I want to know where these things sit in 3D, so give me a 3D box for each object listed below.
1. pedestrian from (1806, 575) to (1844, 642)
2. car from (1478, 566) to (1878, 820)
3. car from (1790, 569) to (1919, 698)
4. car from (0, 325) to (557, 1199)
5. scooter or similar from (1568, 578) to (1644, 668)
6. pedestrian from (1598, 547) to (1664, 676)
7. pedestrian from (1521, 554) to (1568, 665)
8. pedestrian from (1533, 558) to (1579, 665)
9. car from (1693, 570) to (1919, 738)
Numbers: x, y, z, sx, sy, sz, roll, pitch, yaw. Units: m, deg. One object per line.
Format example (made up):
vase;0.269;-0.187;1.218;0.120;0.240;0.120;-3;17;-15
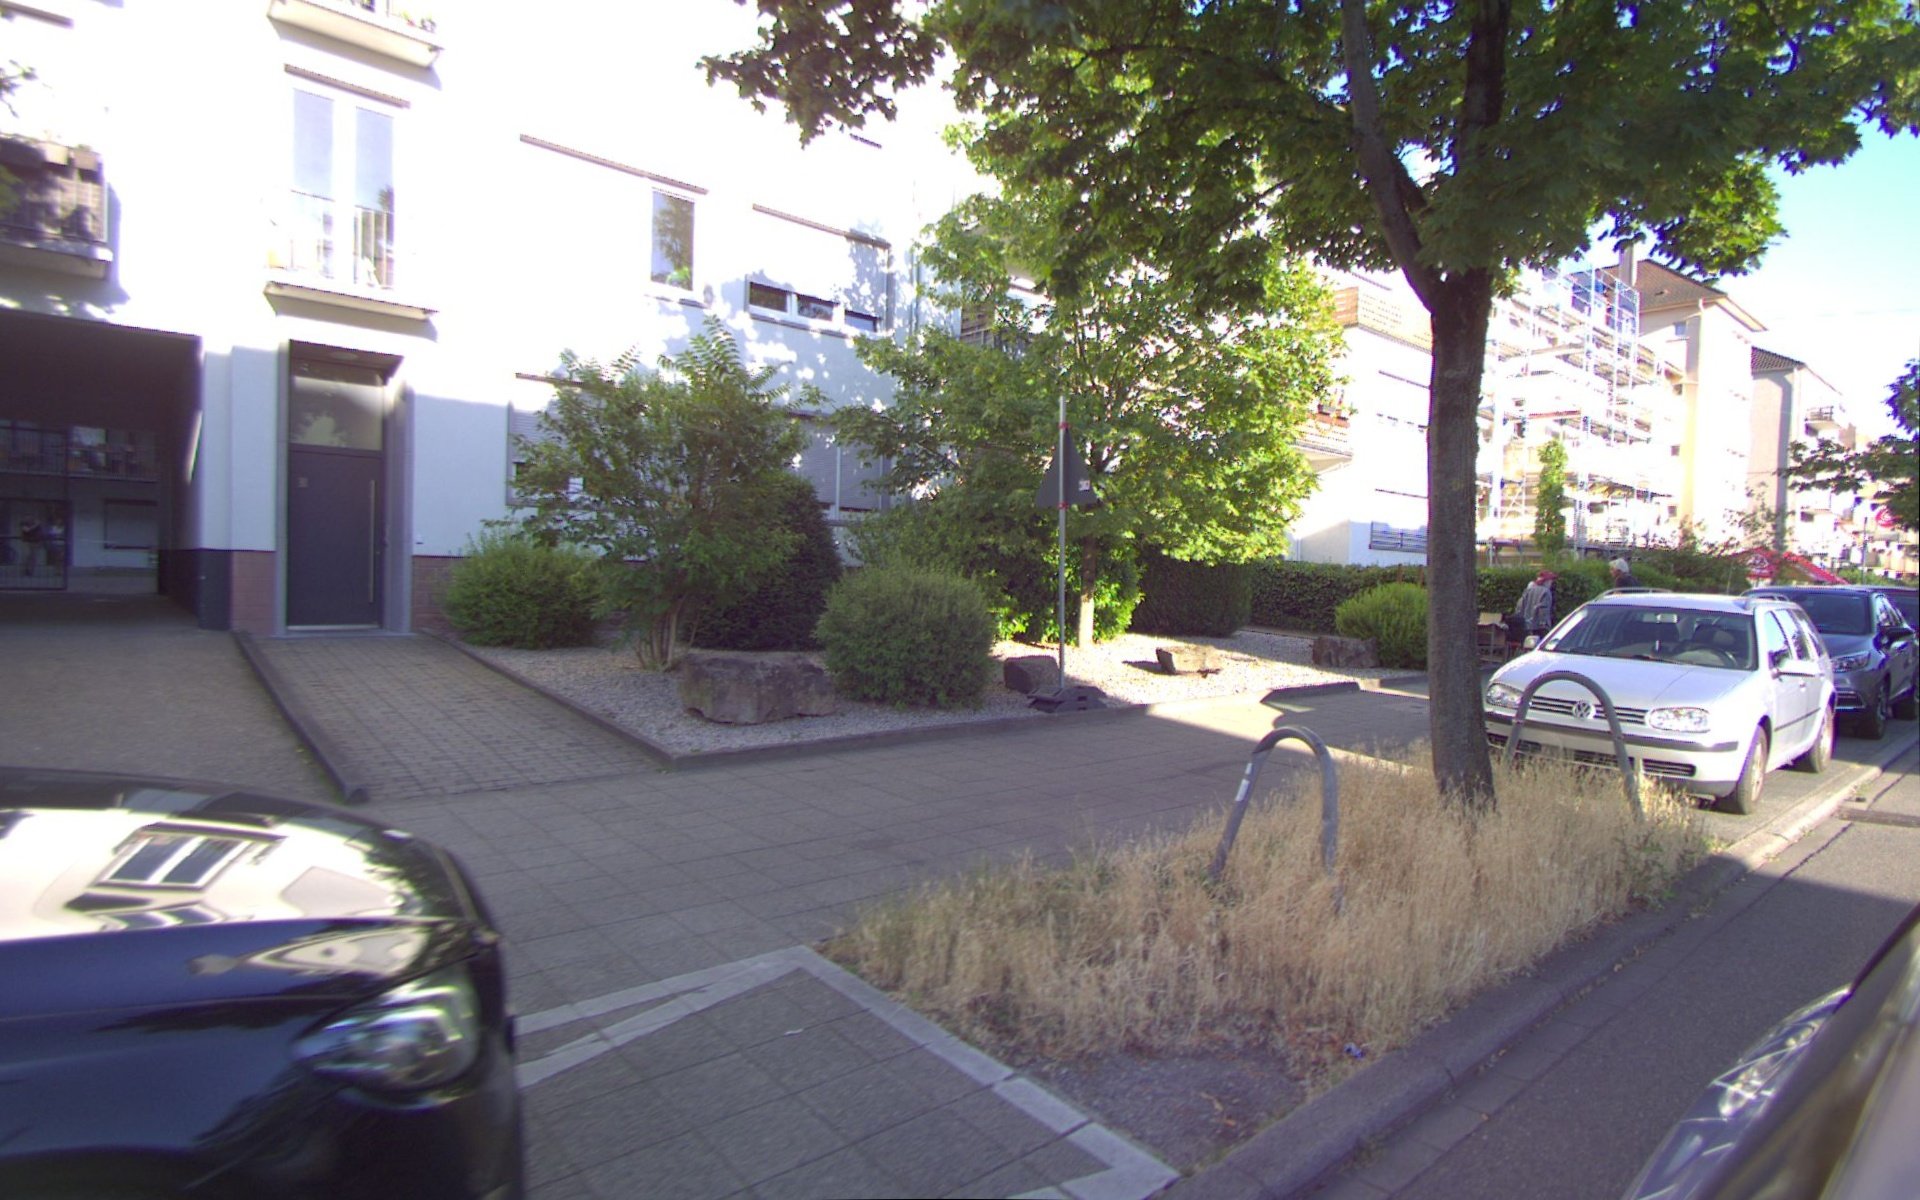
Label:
pedestrian;21.039;0.194;24.617;0.553;1.587;0.740;1;1;31
car;5.977;0.539;8.209;4.338;1.508;1.640;0;3;-41
car;13.749;0.411;14.966;4.521;1.676;1.723;0;1;-44
car;-2.989;0.474;0.643;4.734;1.600;1.879;0;3;-39
scooter or similar;9.878;0.334;15.482;0.707;1.333;0.749;0;1;-34
pedestrian;10.062;0.157;15.179;0.749;1.872;0.550;0;1;-34
pedestrian;9.228;0.135;15.980;0.510;1.718;0.519;2;1;45
pedestrian;9.767;0.180;16.574;0.510;1.718;0.519;2;1;45
car;10.077;0.503;11.729;3.930;1.587;1.640;0;3;-41
